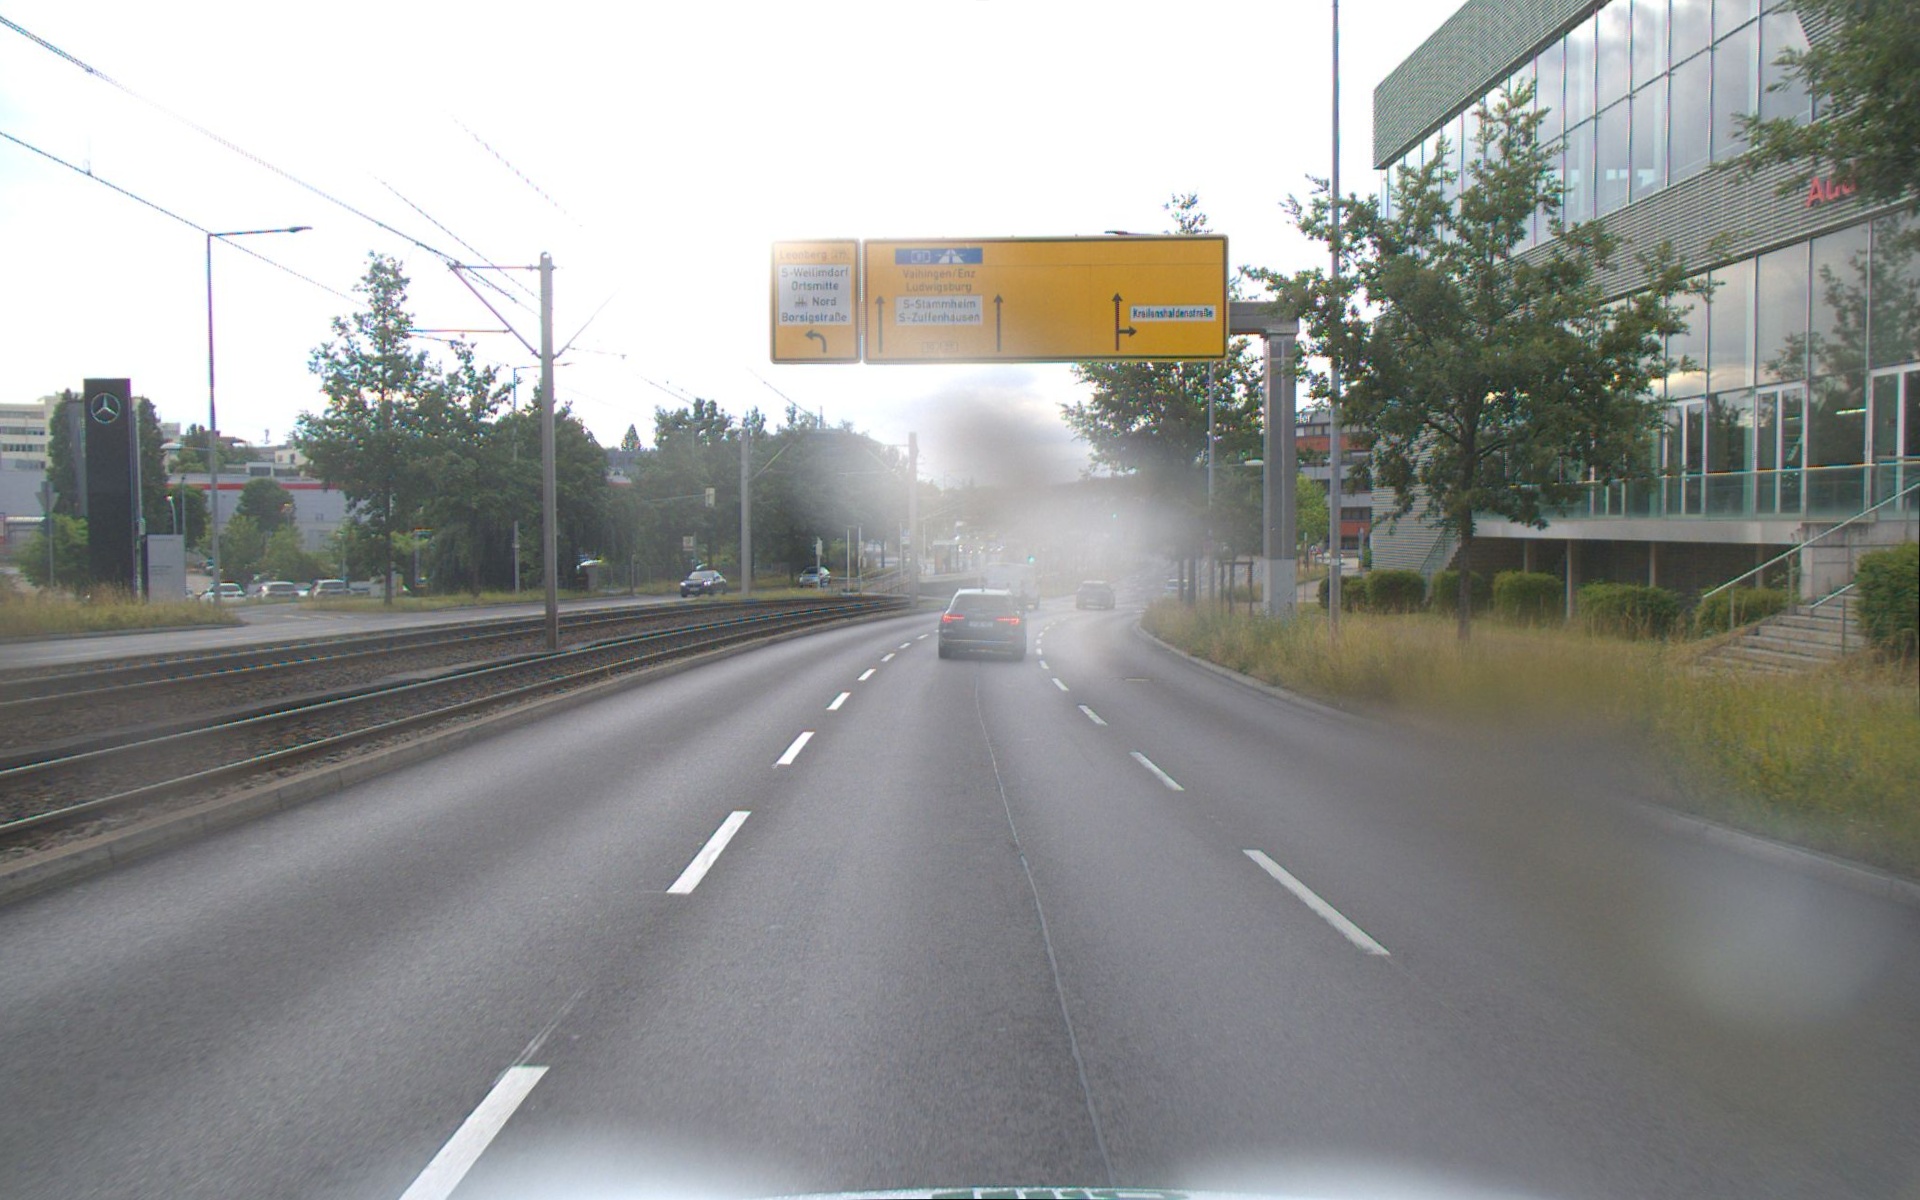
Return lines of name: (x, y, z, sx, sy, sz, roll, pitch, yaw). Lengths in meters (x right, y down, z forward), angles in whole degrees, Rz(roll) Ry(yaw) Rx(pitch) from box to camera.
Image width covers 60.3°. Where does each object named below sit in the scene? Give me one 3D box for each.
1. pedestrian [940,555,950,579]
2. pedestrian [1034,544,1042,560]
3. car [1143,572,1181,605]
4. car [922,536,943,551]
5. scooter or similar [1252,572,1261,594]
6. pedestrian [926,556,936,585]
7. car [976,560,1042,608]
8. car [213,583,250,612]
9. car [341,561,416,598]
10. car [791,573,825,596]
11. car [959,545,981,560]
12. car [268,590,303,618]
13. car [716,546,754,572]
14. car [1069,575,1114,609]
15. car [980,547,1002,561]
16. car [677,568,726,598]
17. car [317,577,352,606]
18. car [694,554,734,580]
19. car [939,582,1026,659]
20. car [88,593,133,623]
pedestrian: (-1.177, -2.624, 132.133, 0.623, 1.886, 0.751, 1, -1, 10)
pedestrian: (8.719, -5.335, 184.946, 0.736, 1.781, 0.764, 1, -1, 12)
car: (12.243, -0.727, 100.039, 1.978, 1.800, 4.005, 1, 3, 11)
car: (-4.149, -8.443, 247.570, 1.964, 2.049, 3.977, 2, -1, -20)
scooter or similar: (18.040, -1.028, 100.507, 0.448, 1.285, 1.338, -2, 1, 8)
pedestrian: (-2.048, -2.093, 116.762, 0.537, 1.987, 0.664, 1, -1, 7)
car: (2.470, -0.767, 81.921, 2.458, 2.215, 5.153, 1, -1, 10)
car: (-40.064, -0.146, 91.009, 1.727, 1.520, 3.973, 2, -1, -22)
car: (-27.993, -0.969, 79.791, 1.952, 1.679, 4.002, 2, -1, 4)
car: (-12.194, -1.261, 132.785, 1.951, 1.709, 4.003, 2, 1, 6)
car: (1.523, -7.305, 254.205, 1.964, 2.049, 3.977, 2, -1, -20)
car: (-37.609, 0.211, 92.197, 1.727, 1.520, 3.973, 2, -1, -22)
car: (-19.811, -3.601, 145.855, 1.951, 2.049, 4.003, 1, 0, 13)
car: (6.938, -0.415, 86.865, 1.978, 1.651, 4.003, 2, -1, 9)
car: (4.779, -7.135, 255.935, 1.964, 2.049, 3.977, 2, -1, -20)
car: (-14.184, -0.954, 91.037, 1.844, 1.547, 4.404, -3, 1, 1)
car: (-35.282, -0.478, 93.272, 1.727, 1.520, 3.973, 2, -1, -22)
car: (-20.893, -2.775, 140.628, 1.951, 2.049, 4.003, 1, 0, 13)
car: (0.441, 0.382, 35.305, 1.728, 1.489, 4.626, 1, 1, 0)
car: (-45.367, 0.438, 88.364, 1.727, 1.520, 3.973, 2, -1, -22)
